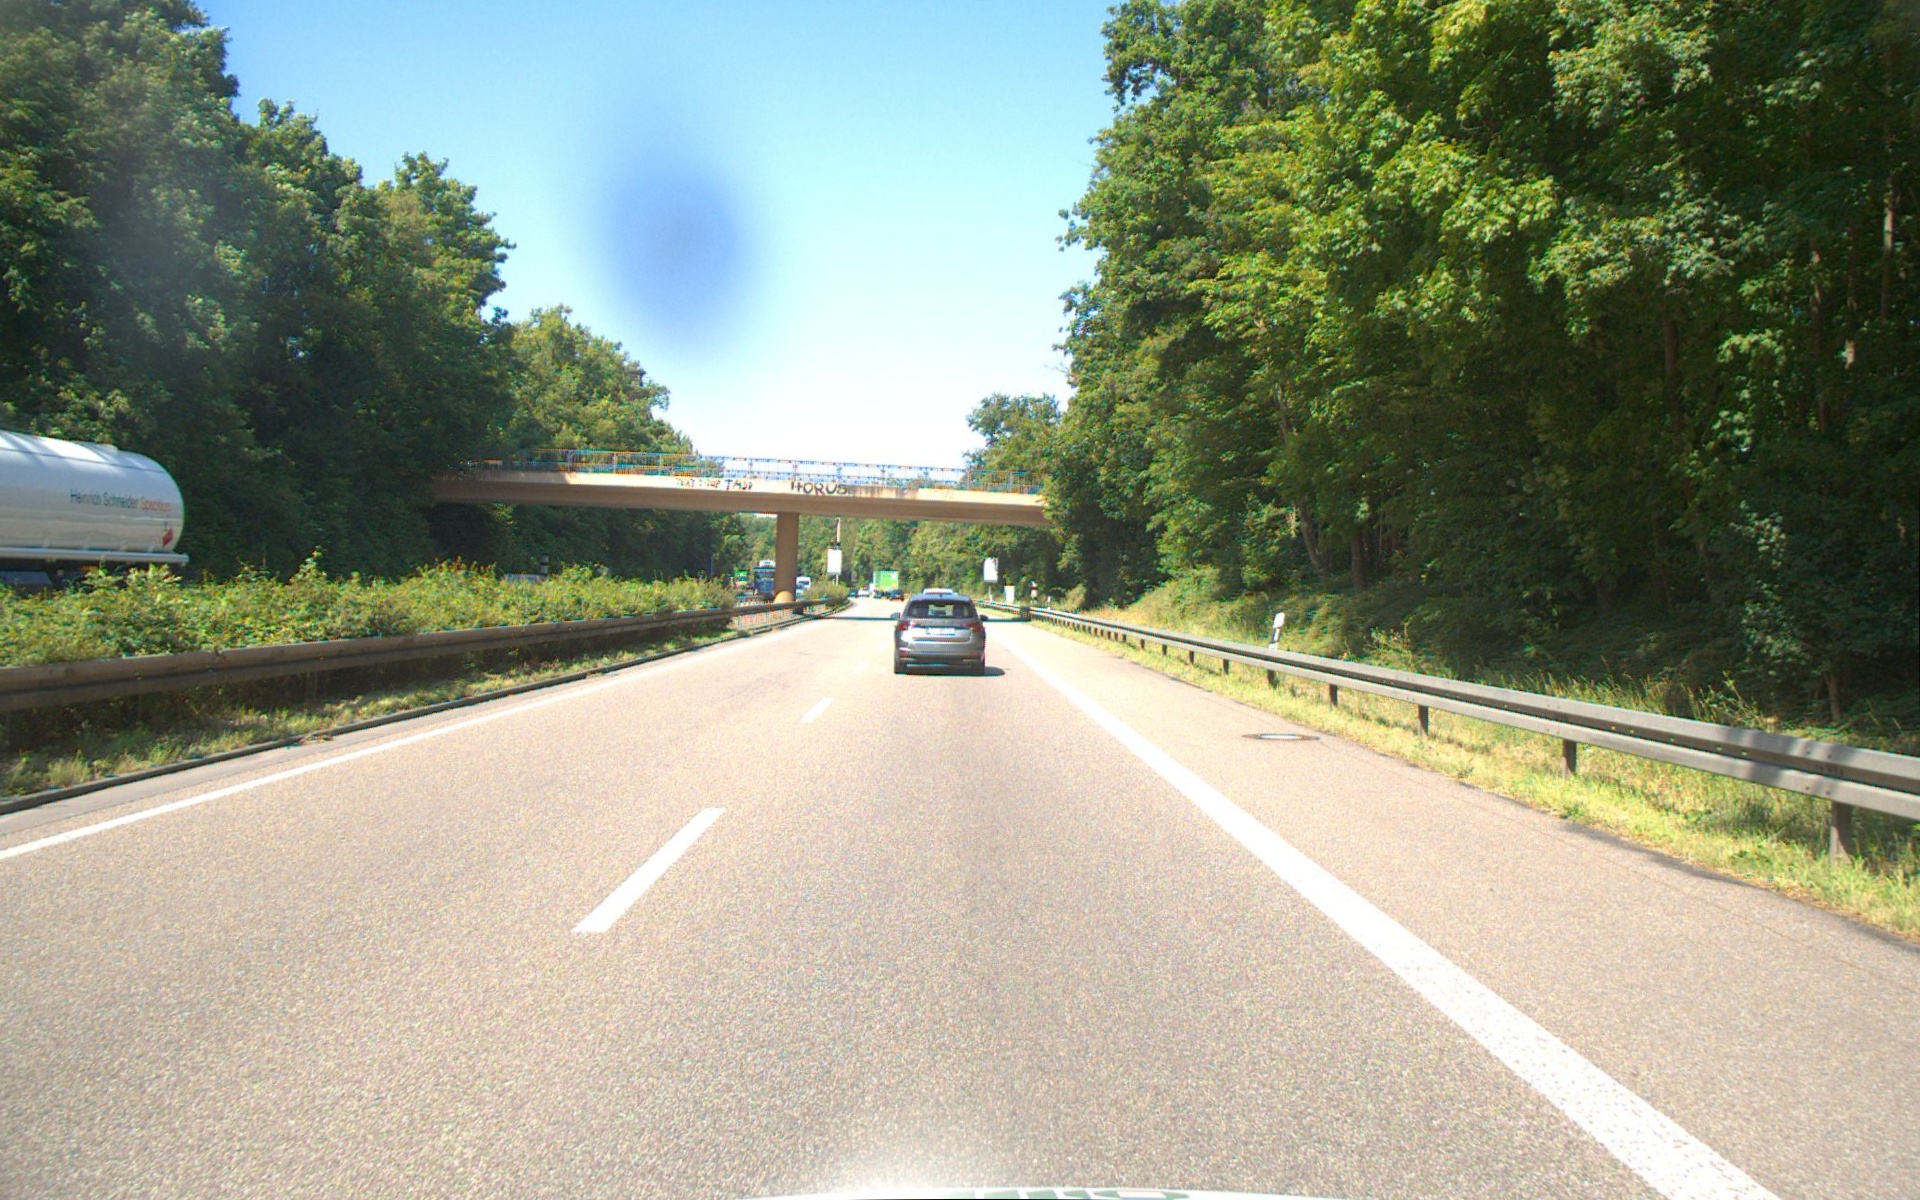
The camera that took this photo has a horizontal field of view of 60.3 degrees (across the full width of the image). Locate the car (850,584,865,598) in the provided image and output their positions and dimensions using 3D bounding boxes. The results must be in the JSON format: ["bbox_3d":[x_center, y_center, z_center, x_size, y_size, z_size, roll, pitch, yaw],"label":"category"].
[{"bbox_3d":[-15.262,-1.392,246.263,1.953,2.049,3.999,1,0,-1],"label":"car"}]

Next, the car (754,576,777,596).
[{"bbox_3d":[-20.491,-1.438,174.292,1.953,2.049,4.000,1,0,-1],"label":"car"}]

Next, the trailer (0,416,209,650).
[{"bbox_3d":[-15.237,-1.015,25.758,1.953,3.461,11.418,1,0,-1],"label":"trailer"}]

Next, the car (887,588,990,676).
[{"bbox_3d":[-0.354,0.552,30.976,1.802,1.497,3.624,1,1,1],"label":"car"}]

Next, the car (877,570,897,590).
[{"bbox_3d":[-10.515,-2.830,236.985,2.693,2.700,3.999,1,0,-1],"label":"car"}]

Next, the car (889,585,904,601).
[{"bbox_3d":[-7.970,-0.882,208.676,1.727,2.049,3.587,1,0,-1],"label":"car"}]

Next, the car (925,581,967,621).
[{"bbox_3d":[-0.522,0.017,63.812,1.491,1.472,3.340,1,1,1],"label":"car"}]
